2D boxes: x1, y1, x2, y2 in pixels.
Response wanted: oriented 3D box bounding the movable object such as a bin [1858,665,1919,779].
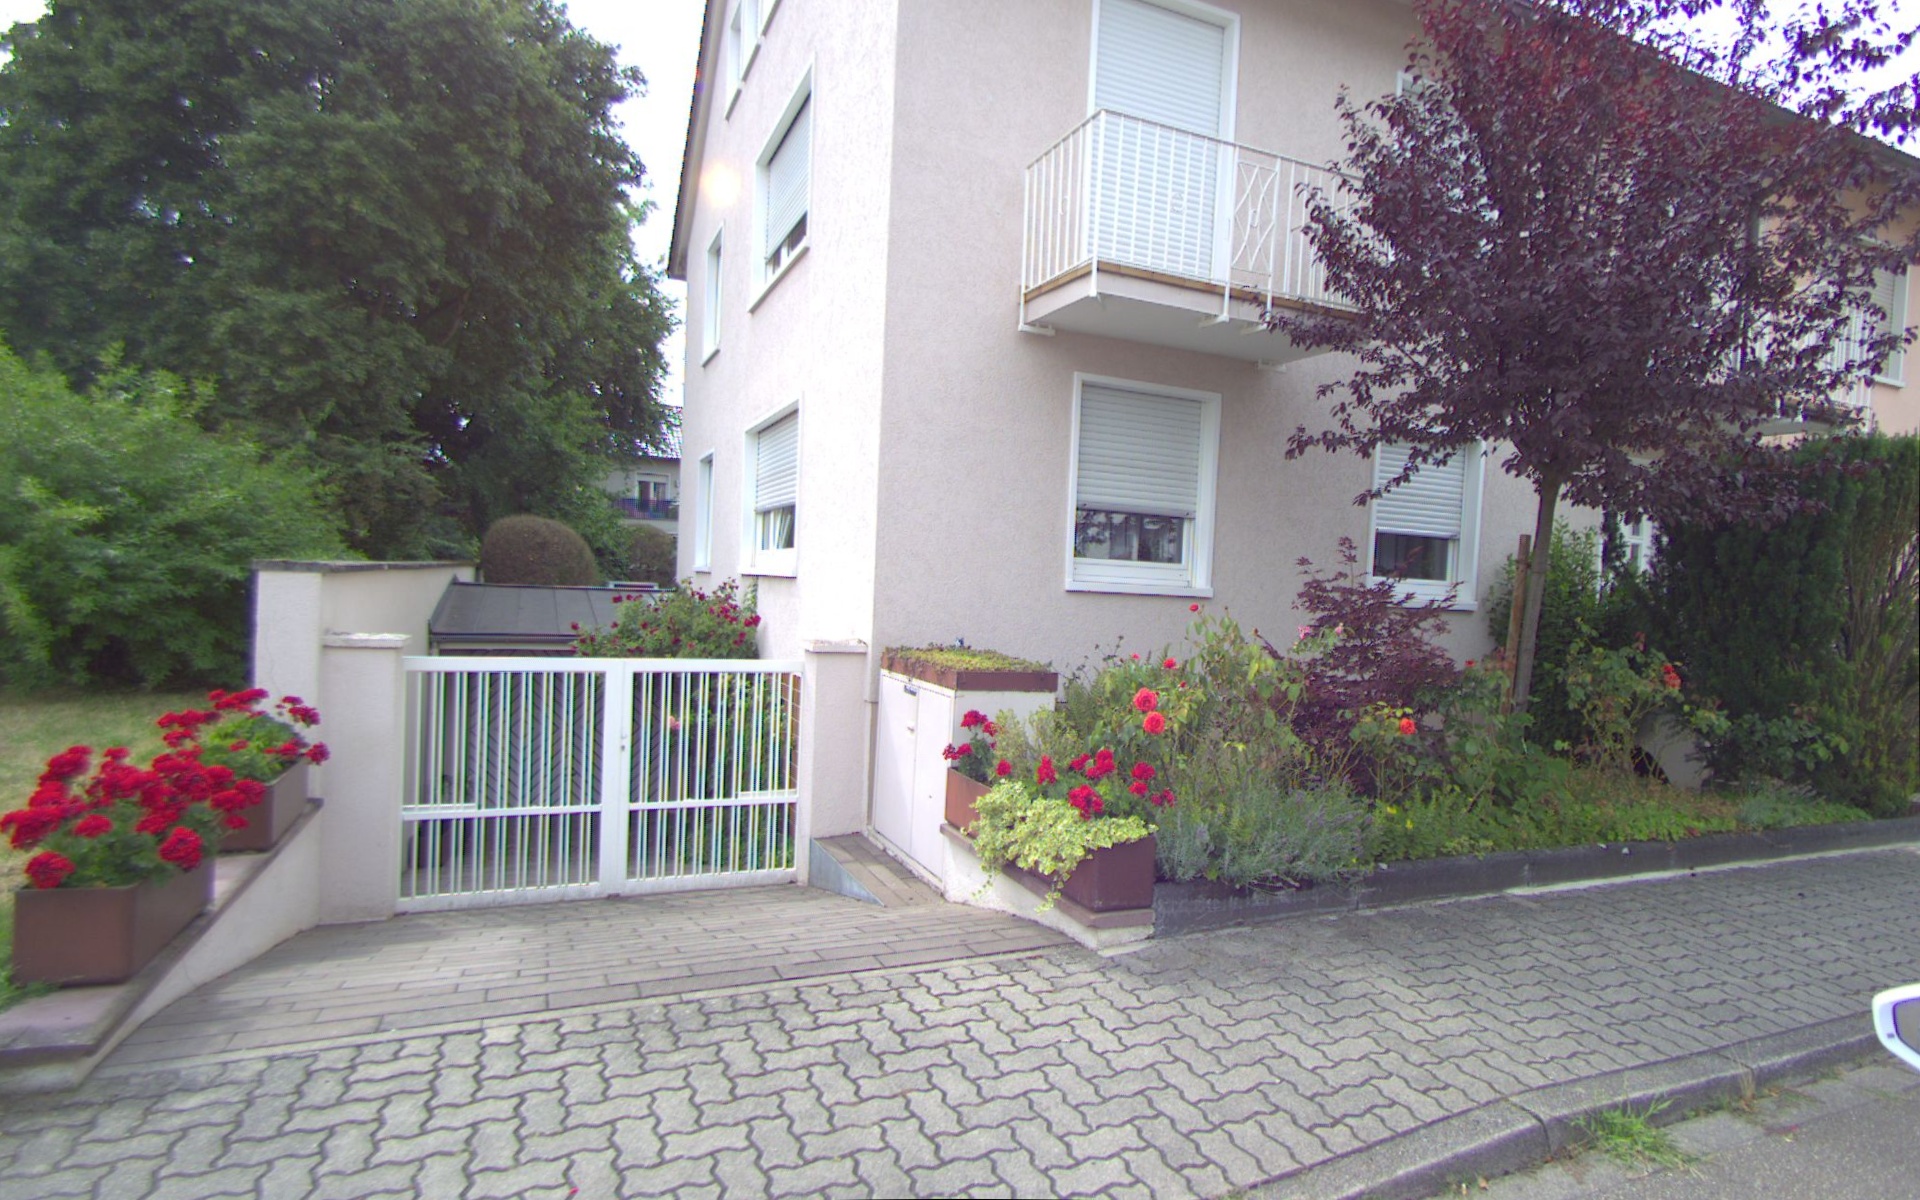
[{"bbox_3d":[8.442,1.076,8.927,0.499,0.943,0.487,2,1,-24],"label":"movable object such as a bin"}]
